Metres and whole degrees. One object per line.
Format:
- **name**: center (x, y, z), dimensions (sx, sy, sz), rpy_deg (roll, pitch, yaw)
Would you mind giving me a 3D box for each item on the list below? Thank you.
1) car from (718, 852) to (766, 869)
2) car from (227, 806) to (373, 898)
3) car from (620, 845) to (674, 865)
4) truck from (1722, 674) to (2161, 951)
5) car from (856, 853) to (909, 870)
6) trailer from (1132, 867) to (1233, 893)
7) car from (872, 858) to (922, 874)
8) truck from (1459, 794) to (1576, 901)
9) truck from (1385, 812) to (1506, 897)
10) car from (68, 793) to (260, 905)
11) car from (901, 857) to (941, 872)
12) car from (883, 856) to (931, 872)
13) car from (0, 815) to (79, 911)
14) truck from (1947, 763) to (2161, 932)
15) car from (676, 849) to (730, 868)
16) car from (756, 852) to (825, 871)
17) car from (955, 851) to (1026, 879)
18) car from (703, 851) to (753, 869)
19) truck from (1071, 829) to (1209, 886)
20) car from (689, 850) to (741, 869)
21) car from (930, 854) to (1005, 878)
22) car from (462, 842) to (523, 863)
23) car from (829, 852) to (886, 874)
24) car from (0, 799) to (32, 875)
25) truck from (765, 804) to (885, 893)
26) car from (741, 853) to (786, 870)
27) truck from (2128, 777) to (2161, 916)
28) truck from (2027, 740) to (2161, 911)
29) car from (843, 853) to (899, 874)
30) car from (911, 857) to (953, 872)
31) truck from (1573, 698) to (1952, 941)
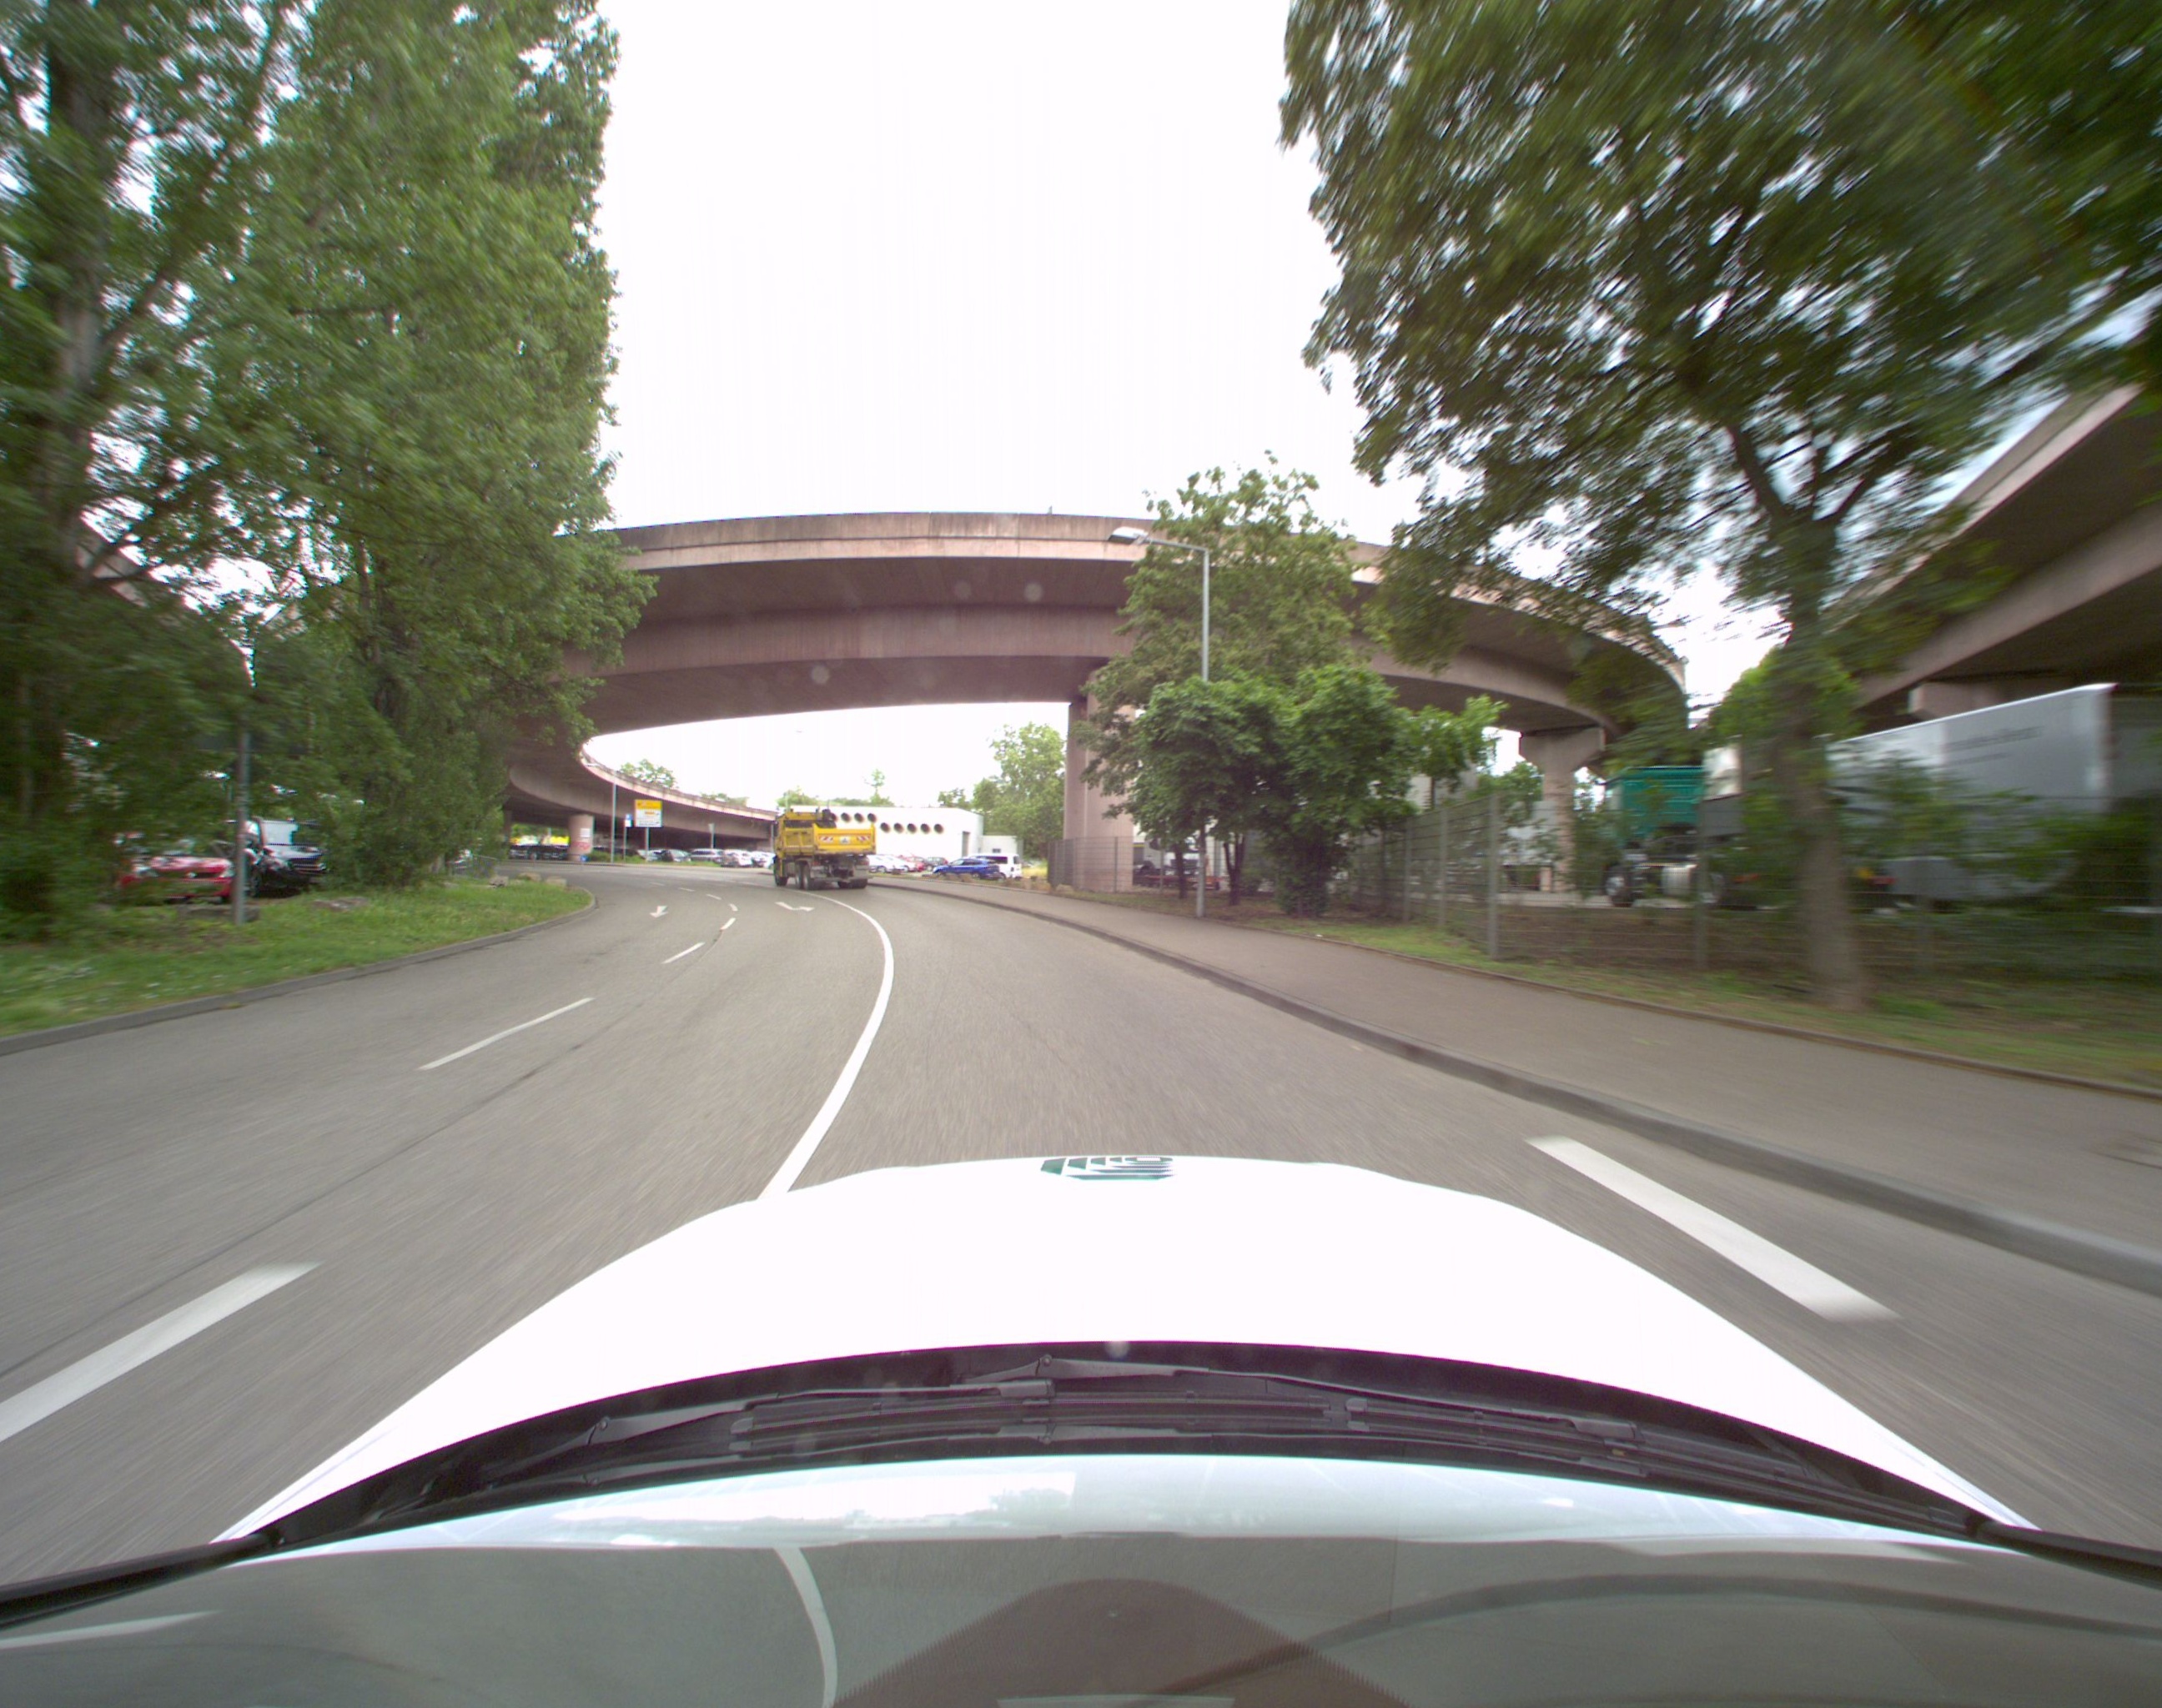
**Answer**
- **car**: center (-32.583, 0.635, 78.422), dimensions (3.848, 1.633, 1.780), rpy_deg (0, -2, 7)
- **car**: center (-19.071, -0.049, 19.846), dimensions (3.949, 2.014, 2.012), rpy_deg (0, -1, 39)
- **car**: center (-38.469, 0.102, 72.153), dimensions (3.848, 1.633, 1.780), rpy_deg (0, -2, 7)
- **truck**: center (16.245, -0.607, 15.293), dimensions (3.048, 3.868, 8.068), rpy_deg (-1, 0, 9)
- **car**: center (-17.063, 0.662, 70.233), dimensions (3.965, 1.442, 2.004), rpy_deg (0, -2, 7)
- **trailer**: center (3.802, 0.965, 31.936), dimensions (2.149, 0.743, 6.272), rpy_deg (-3, 0, -10)
- **car**: center (-16.847, 1.144, 74.679), dimensions (3.965, 1.406, 2.004), rpy_deg (0, -2, 7)
- **truck**: center (21.335, -0.300, 40.412), dimensions (3.180, 4.780, 8.078), rpy_deg (-1, 0, 14)
- **truck**: center (16.951, -0.028, 38.547), dimensions (3.039, 3.619, 7.931), rpy_deg (0, 1, 7)
- **car**: center (-18.913, -0.090, 16.758), dimensions (4.392, 2.014, 2.012), rpy_deg (1, -1, 34)
- **car**: center (-16.072, 1.105, 81.874), dimensions (3.680, 1.442, 1.638), rpy_deg (0, -2, 7)
- **car**: center (-16.428, 0.956, 77.074), dimensions (3.965, 1.442, 2.004), rpy_deg (0, -2, 7)
- **car**: center (-18.397, 0.165, 13.163), dimensions (4.730, 1.443, 2.135), rpy_deg (-1, -2, 31)
- **truck**: center (20.167, -0.131, 14.620), dimensions (2.898, 2.899, 6.574), rpy_deg (-1, 0, 9)
- **car**: center (-32.983, 0.410, 71.135), dimensions (3.850, 1.633, 1.779), rpy_deg (0, -2, 6)
- **car**: center (-23.267, 0.617, 65.385), dimensions (4.794, 1.442, 2.004), rpy_deg (0, -2, 7)
- **car**: center (-6.144, 0.769, 55.318), dimensions (4.280, 1.857, 2.009), rpy_deg (-1, -2, 17)
- **car**: center (-33.046, 0.570, 76.290), dimensions (3.848, 1.633, 1.780), rpy_deg (0, -2, 7)
- **truck**: center (2.722, 0.211, 40.034), dimensions (2.737, 2.552, 7.150), rpy_deg (1, -1, -37)
- **car**: center (-33.108, 0.492, 73.763), dimensions (3.848, 1.633, 1.780), rpy_deg (0, -2, 7)
- **car**: center (-7.313, 0.795, 52.429), dimensions (4.404, 1.442, 2.011), rpy_deg (-1, -2, 24)
- **car**: center (-50.293, -0.110, 69.598), dimensions (3.918, 1.633, 1.895), rpy_deg (0, -2, 7)
- **car**: center (-17.749, 0.714, 64.645), dimensions (3.966, 1.640, 1.692), rpy_deg (0, -2, 6)
- **car**: center (-28.285, -0.274, 18.957), dimensions (1.974, 1.784, 4.480), rpy_deg (-4, 2, 33)
- **truck**: center (-11.547, -0.247, 36.129), dimensions (2.947, 3.481, 8.160), rpy_deg (-2, 1, -33)
- **car**: center (-32.392, 0.783, 83.201), dimensions (3.848, 1.633, 1.780), rpy_deg (0, -2, 7)
- **truck**: center (23.525, -0.159, 14.114), dimensions (2.898, 2.899, 6.574), rpy_deg (-1, 0, 9)
- **truck**: center (28.506, -0.728, 19.766), dimensions (3.044, 4.300, 8.077), rpy_deg (-1, 0, 13)
- **car**: center (-17.329, 0.814, 67.377), dimensions (3.967, 1.640, 2.003), rpy_deg (0, -2, 6)
- **car**: center (-15.930, 1.125, 86.994), dimensions (3.964, 1.546, 1.860), rpy_deg (0, 1, 8)
- **truck**: center (13.337, -0.573, 16.949), dimensions (3.046, 3.963, 6.944), rpy_deg (-1, 0, 11)
